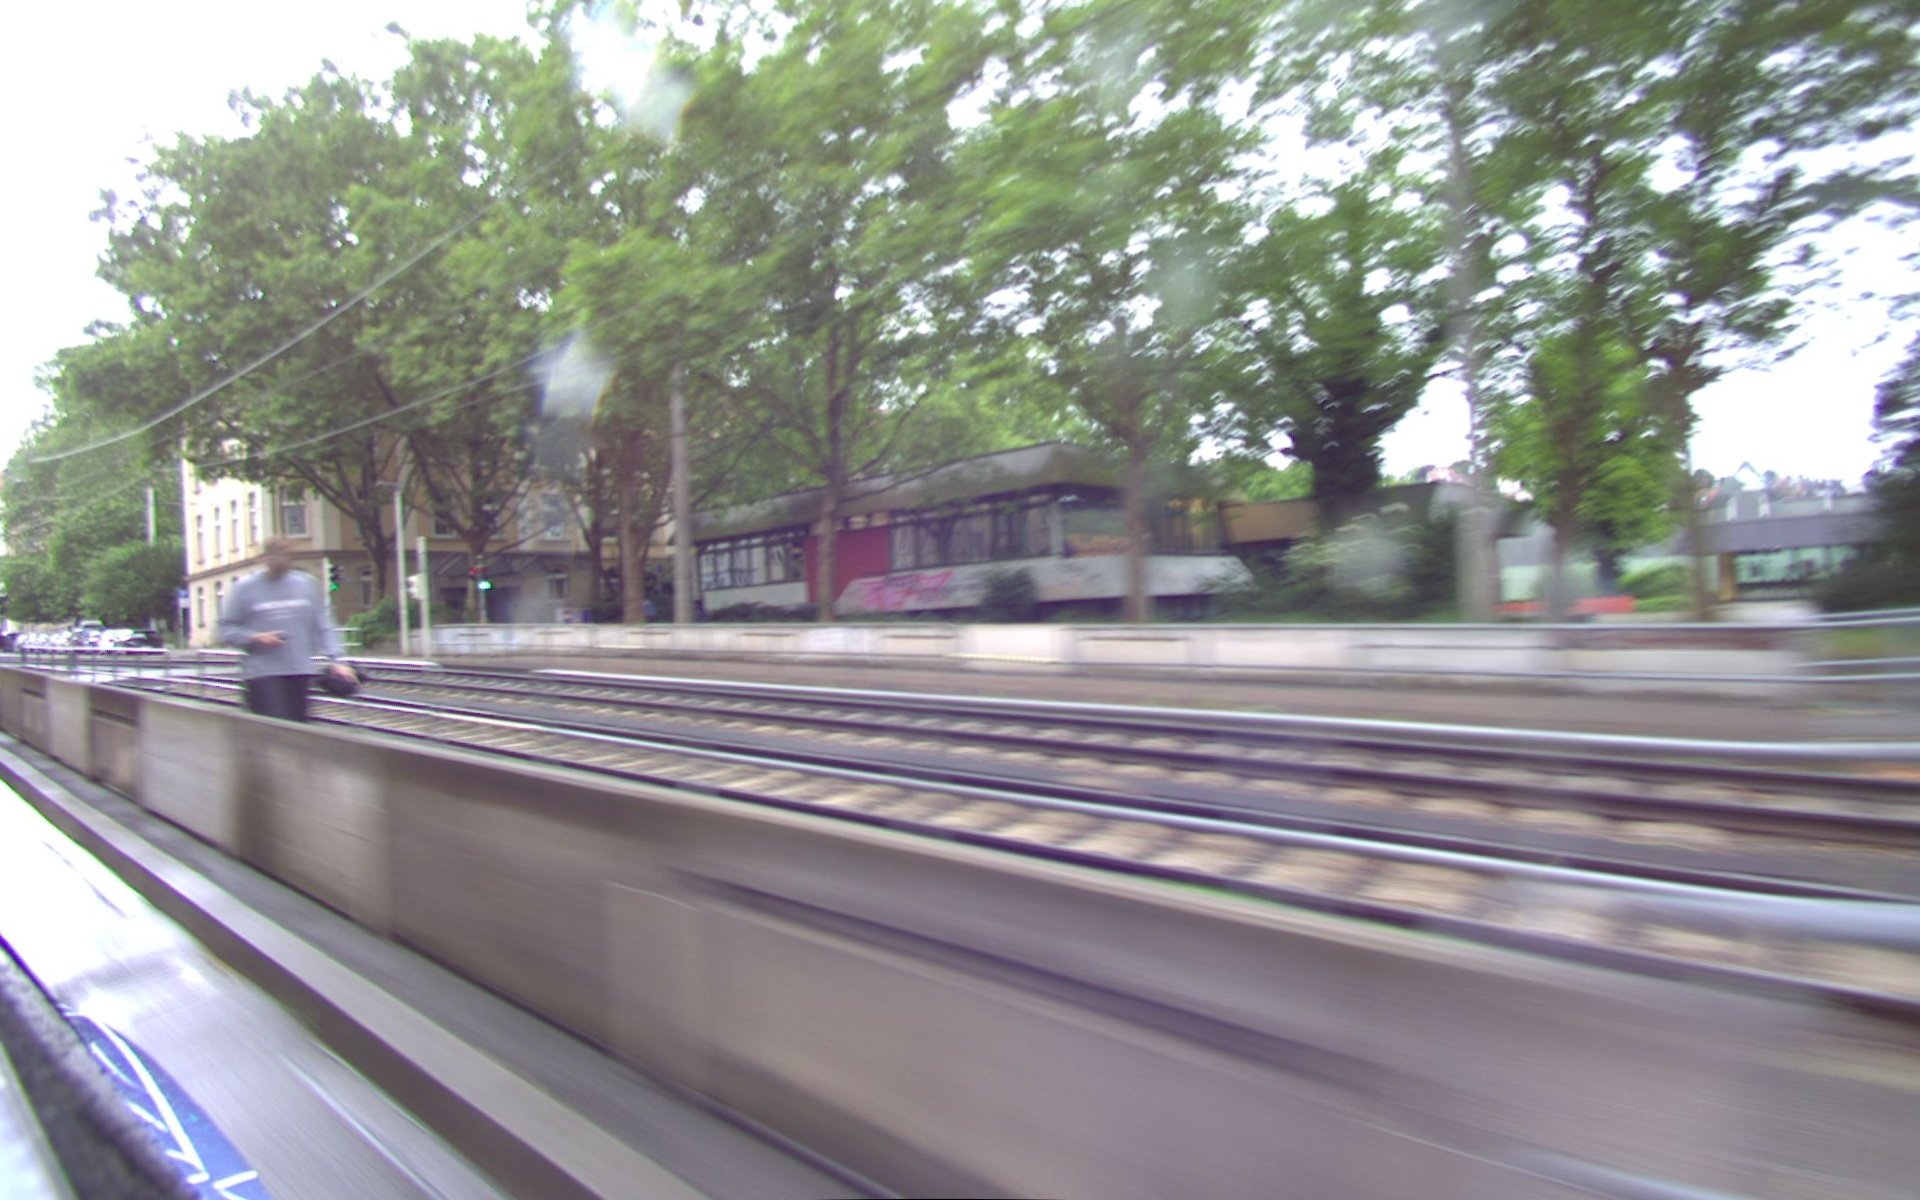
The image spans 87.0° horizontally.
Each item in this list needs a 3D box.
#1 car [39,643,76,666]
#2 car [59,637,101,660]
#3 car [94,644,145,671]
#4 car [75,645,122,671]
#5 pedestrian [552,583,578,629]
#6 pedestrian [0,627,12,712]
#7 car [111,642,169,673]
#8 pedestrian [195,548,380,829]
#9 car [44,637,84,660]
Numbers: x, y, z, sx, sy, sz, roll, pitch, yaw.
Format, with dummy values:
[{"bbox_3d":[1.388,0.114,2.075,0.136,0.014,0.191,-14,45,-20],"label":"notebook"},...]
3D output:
[{"bbox_3d":[-63.535,3.840,71.225,3.310,1.520,1.385,-3,-1,38],"label":"car"},{"bbox_3d":[-56.478,3.115,64.930,3.278,1.411,1.465,-3,-1,39],"label":"car"},{"bbox_3d":[-48.580,3.333,58.465,3.513,1.411,1.625,-3,-1,40],"label":"car"},{"bbox_3d":[-52.371,3.532,61.509,3.513,1.411,1.625,-3,-1,40],"label":"car"},{"bbox_3d":[-16.256,0.251,41.641,0.857,1.813,0.864,-2,0,-15],"label":"pedestrian"},{"bbox_3d":[-19.826,1.420,20.538,0.642,1.717,0.663,-2,0,-26],"label":"pedestrian"},{"bbox_3d":[-45.122,3.142,55.681,3.806,1.488,1.867,-3,0,42],"label":"car"},{"bbox_3d":[-4.719,0.570,7.107,0.787,1.813,0.850,-3,0,40],"label":"pedestrian"},{"bbox_3d":[-60.112,3.266,67.890,3.496,1.460,1.465,-3,-1,39],"label":"car"}]
